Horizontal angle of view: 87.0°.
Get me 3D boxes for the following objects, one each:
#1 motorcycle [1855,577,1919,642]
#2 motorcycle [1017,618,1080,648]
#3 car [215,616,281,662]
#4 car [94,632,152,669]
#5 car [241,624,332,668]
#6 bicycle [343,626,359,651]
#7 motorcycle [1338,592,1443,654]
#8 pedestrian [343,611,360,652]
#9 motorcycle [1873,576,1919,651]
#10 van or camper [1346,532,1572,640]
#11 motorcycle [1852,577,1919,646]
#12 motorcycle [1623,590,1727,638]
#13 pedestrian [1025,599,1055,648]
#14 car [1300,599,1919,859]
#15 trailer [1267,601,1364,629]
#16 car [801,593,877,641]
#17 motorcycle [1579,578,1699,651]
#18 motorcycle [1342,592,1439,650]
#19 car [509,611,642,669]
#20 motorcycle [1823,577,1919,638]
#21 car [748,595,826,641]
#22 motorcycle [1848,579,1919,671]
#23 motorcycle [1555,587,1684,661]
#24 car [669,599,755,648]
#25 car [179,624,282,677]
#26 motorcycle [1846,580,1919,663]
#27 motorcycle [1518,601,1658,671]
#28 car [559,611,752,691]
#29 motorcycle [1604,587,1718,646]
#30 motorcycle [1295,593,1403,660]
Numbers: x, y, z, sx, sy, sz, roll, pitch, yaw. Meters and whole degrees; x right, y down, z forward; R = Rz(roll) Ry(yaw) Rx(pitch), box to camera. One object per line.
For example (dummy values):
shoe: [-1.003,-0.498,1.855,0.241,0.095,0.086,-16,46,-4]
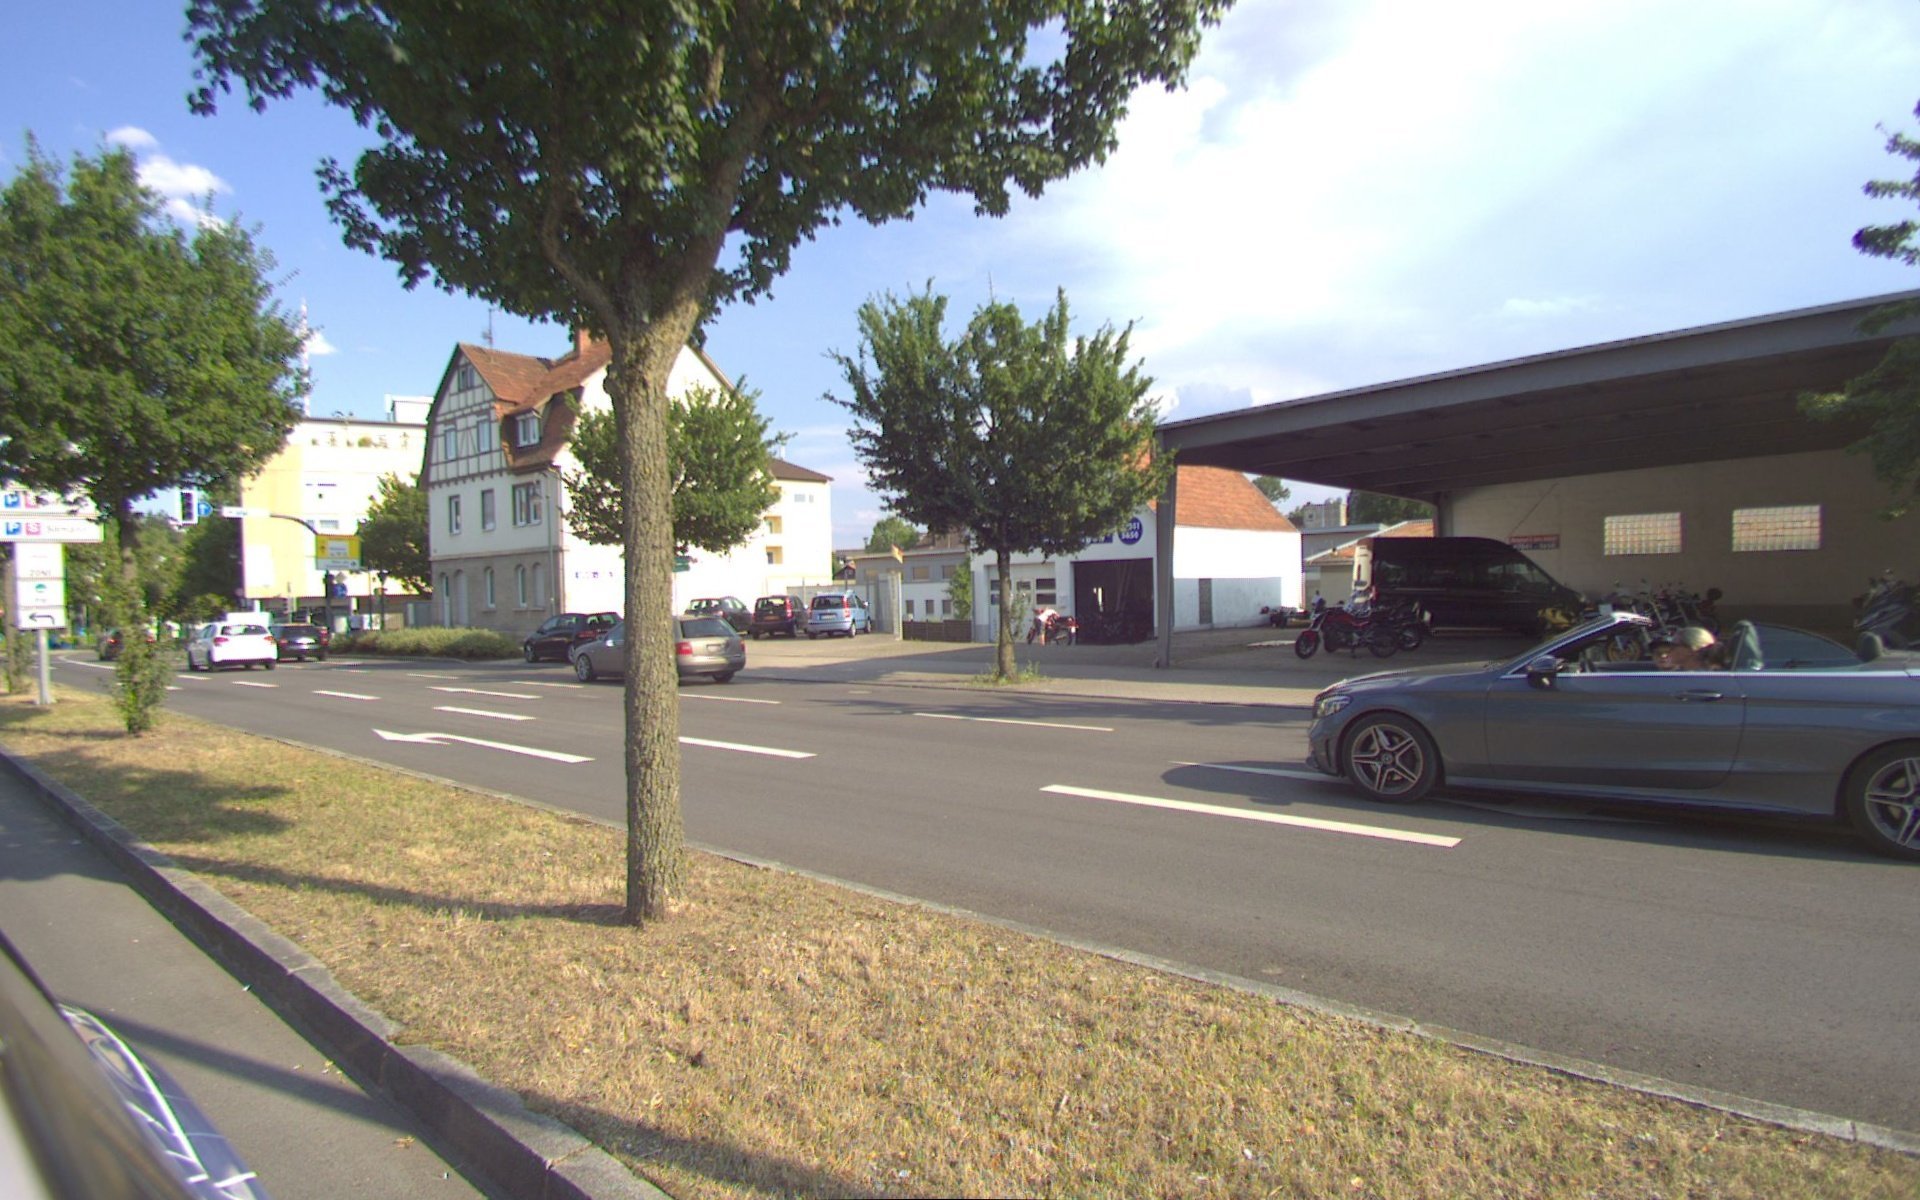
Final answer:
motorcycle: [19.930,0.186,20.954,2.068,1.317,0.561,-1,0,12]
motorcycle: [2.871,1.056,32.949,2.212,0.927,0.500,-1,-1,45]
car: [-32.308,1.721,45.836,1.801,1.938,4.950,-1,-1,-43]
car: [-37.103,2.193,44.838,1.748,1.462,4.112,-1,-1,-43]
car: [-24.969,1.667,37.451,4.244,1.508,1.788,-1,0,42]
bicycle: [-31.081,1.966,51.675,0.670,1.231,1.518,-1,0,-31]
motorcycle: [9.490,0.500,22.363,1.982,1.321,0.649,-1,0,5]
pedestrian: [-30.533,1.568,50.762,0.688,1.997,0.590,-1,-1,-32]
motorcycle: [17.570,0.218,17.872,2.068,1.317,0.621,-1,0,12]
van or camper: [13.268,-0.341,27.193,4.979,2.700,1.995,-1,0,8]
motorcycle: [18.702,0.213,19.620,2.068,1.317,0.581,-1,0,12]
motorcycle: [17.661,0.350,25.061,0.553,1.131,2.161,-1,0,-19]
pedestrian: [2.574,0.751,32.444,0.643,1.535,0.675,-1,-1,-41]
car: [4.814,0.705,6.777,4.476,1.359,1.762,-1,0,41]
trailer: [12.939,0.530,36.806,2.449,0.831,3.152,-1,2,38]
car: [-4.145,0.572,35.318,1.746,1.564,3.992,-1,0,7]
motorcycle: [14.223,0.299,21.278,0.584,1.459,2.161,-1,0,-19]
motorcycle: [10.256,0.492,24.144,1.982,1.321,0.649,-1,0,5]
car: [-11.325,1.146,29.676,4.193,1.454,1.816,-1,3,41]
motorcycle: [20.412,0.163,22.304,2.068,1.317,0.561,-1,0,12]
car: [-6.236,0.630,36.874,1.746,1.564,3.992,-1,0,7]
motorcycle: [14.347,0.351,14.728,2.093,1.317,0.561,-1,0,12]
motorcycle: [12.597,0.445,19.421,0.553,1.340,2.161,-1,0,-19]
car: [-9.053,0.823,37.324,1.746,1.563,3.992,-2,1,7]
car: [-22.827,1.530,31.615,3.954,1.508,1.782,-1,0,42]
motorcycle: [15.745,0.330,16.379,2.068,1.317,0.561,-1,0,12]
motorcycle: [10.910,0.601,17.686,0.620,1.132,2.161,-1,0,-19]
car: [-6.478,1.013,21.238,4.710,1.473,1.668,-1,0,42]
motorcycle: [15.941,0.366,23.089,0.636,1.268,2.161,-1,0,-19]
motorcycle: [7.962,0.547,20.799,1.991,1.321,0.665,-1,0,18]
